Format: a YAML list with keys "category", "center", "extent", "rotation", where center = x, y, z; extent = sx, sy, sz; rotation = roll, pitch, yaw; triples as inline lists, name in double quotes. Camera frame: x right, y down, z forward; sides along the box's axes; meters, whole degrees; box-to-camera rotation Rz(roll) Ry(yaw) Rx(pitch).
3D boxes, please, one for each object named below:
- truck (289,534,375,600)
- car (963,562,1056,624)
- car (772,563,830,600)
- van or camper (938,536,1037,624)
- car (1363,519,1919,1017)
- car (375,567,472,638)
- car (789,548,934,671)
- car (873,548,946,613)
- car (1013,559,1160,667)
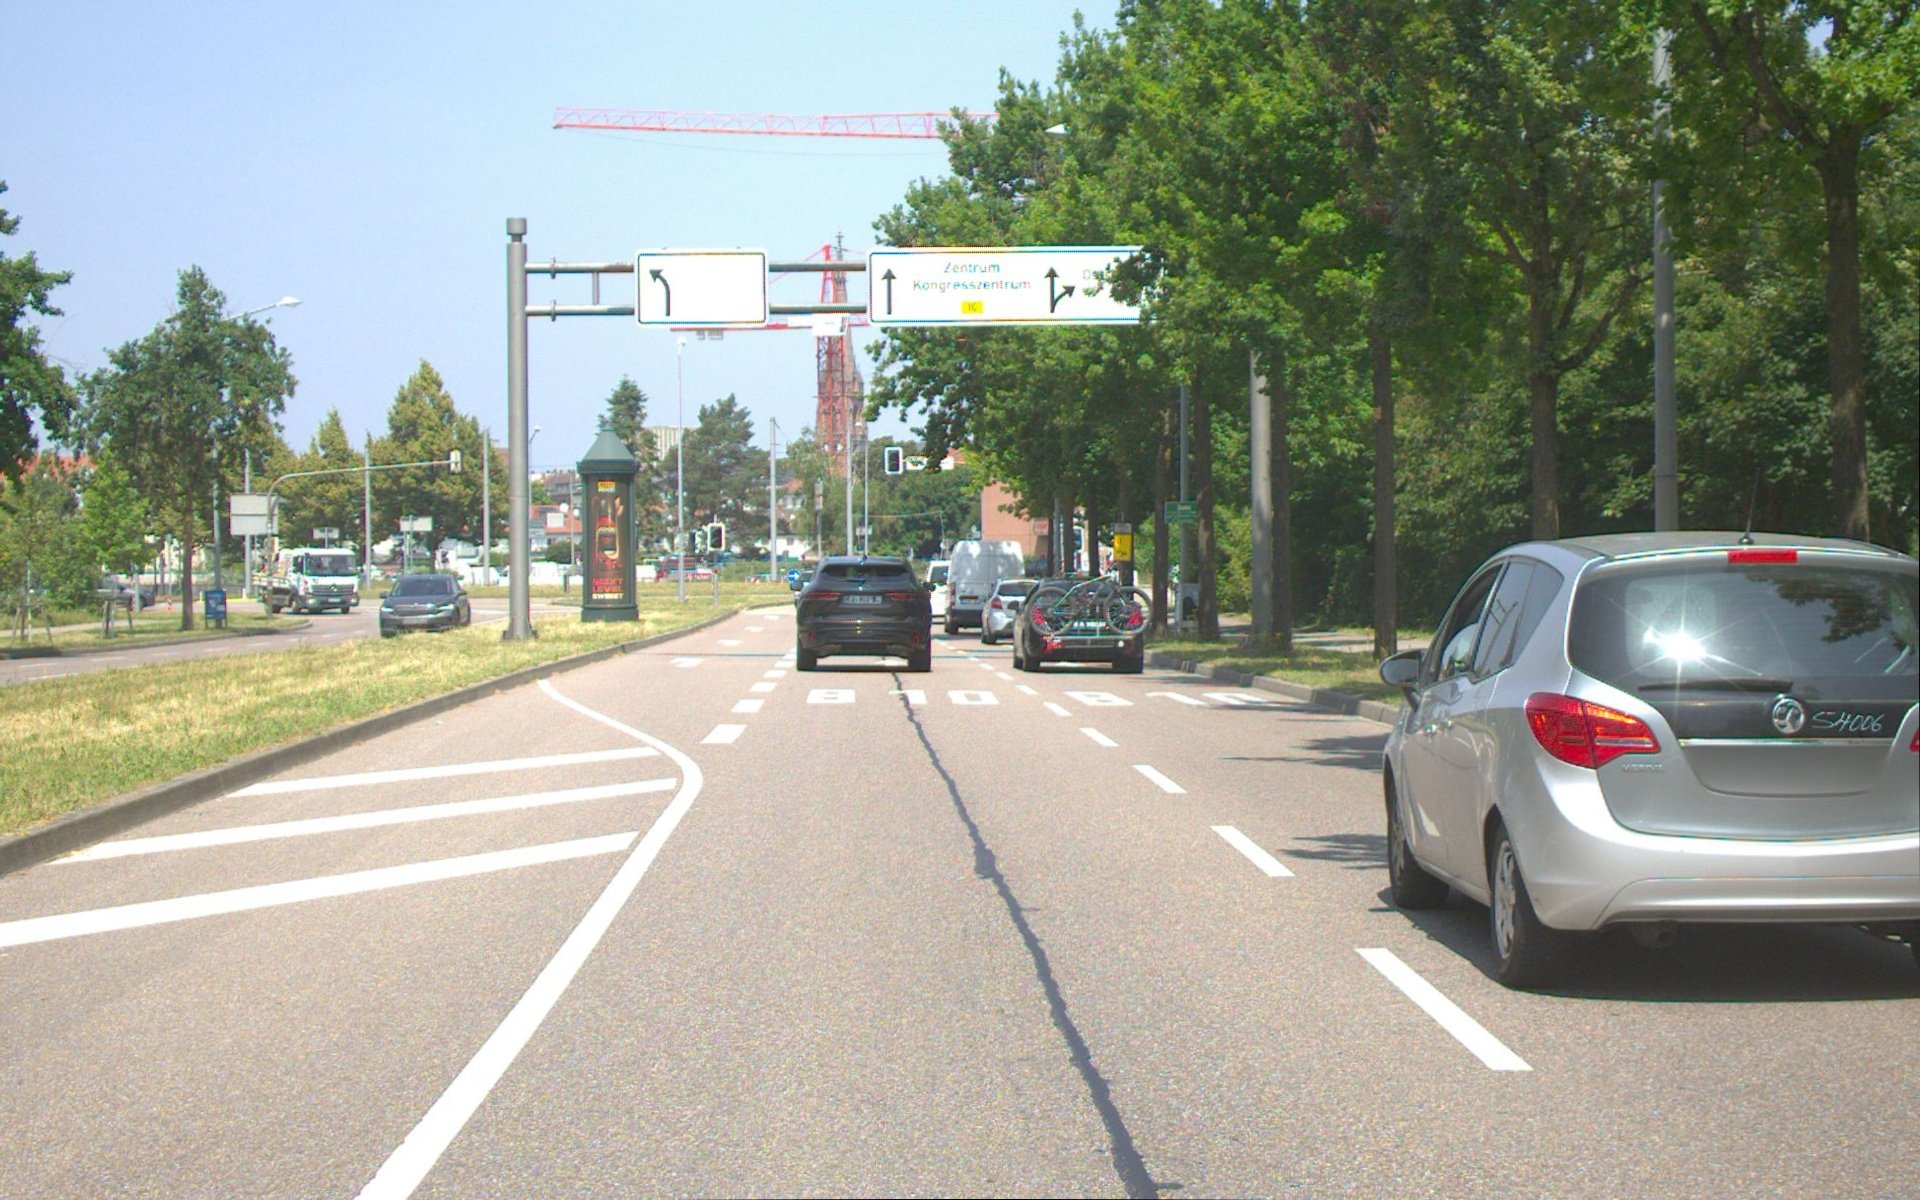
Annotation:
- category: "truck"
  center: [-24.839, -1.332, 136.199]
  extent: [2.638, 2.568, 6.319]
  rotation: [0, 1, -4]
- category: "car"
  center: [1.099, -0.180, 77.785]
  extent: [1.654, 1.351, 4.461]
  rotation: [-1, 1, -5]
- category: "car"
  center: [-6.087, -0.710, 131.437]
  extent: [1.993, 1.316, 4.001]
  rotation: [0, 1, -6]
- category: "van or camper"
  center: [0.694, -0.550, 92.458]
  extent: [2.493, 2.283, 4.921]
  rotation: [-1, 1, -1]
- category: "car"
  center: [2.687, 0.511, 13.124]
  extent: [1.792, 1.606, 3.891]
  rotation: [1, 1, 0]
- category: "car"
  center: [-13.191, 0.041, 84.703]
  extent: [1.892, 1.605, 4.535]
  rotation: [-2, 1, -4]
- category: "car"
  center: [-1.394, 0.101, 49.978]
  extent: [1.998, 1.683, 4.034]
  rotation: [1, 1, 0]
- category: "car"
  center: [-1.622, -0.636, 108.375]
  extent: [1.993, 2.007, 4.001]
  rotation: [0, 1, -5]
- category: "car"
  center: [1.821, 0.154, 50.893]
  extent: [2.014, 1.512, 4.461]
  rotation: [-1, 1, 0]
